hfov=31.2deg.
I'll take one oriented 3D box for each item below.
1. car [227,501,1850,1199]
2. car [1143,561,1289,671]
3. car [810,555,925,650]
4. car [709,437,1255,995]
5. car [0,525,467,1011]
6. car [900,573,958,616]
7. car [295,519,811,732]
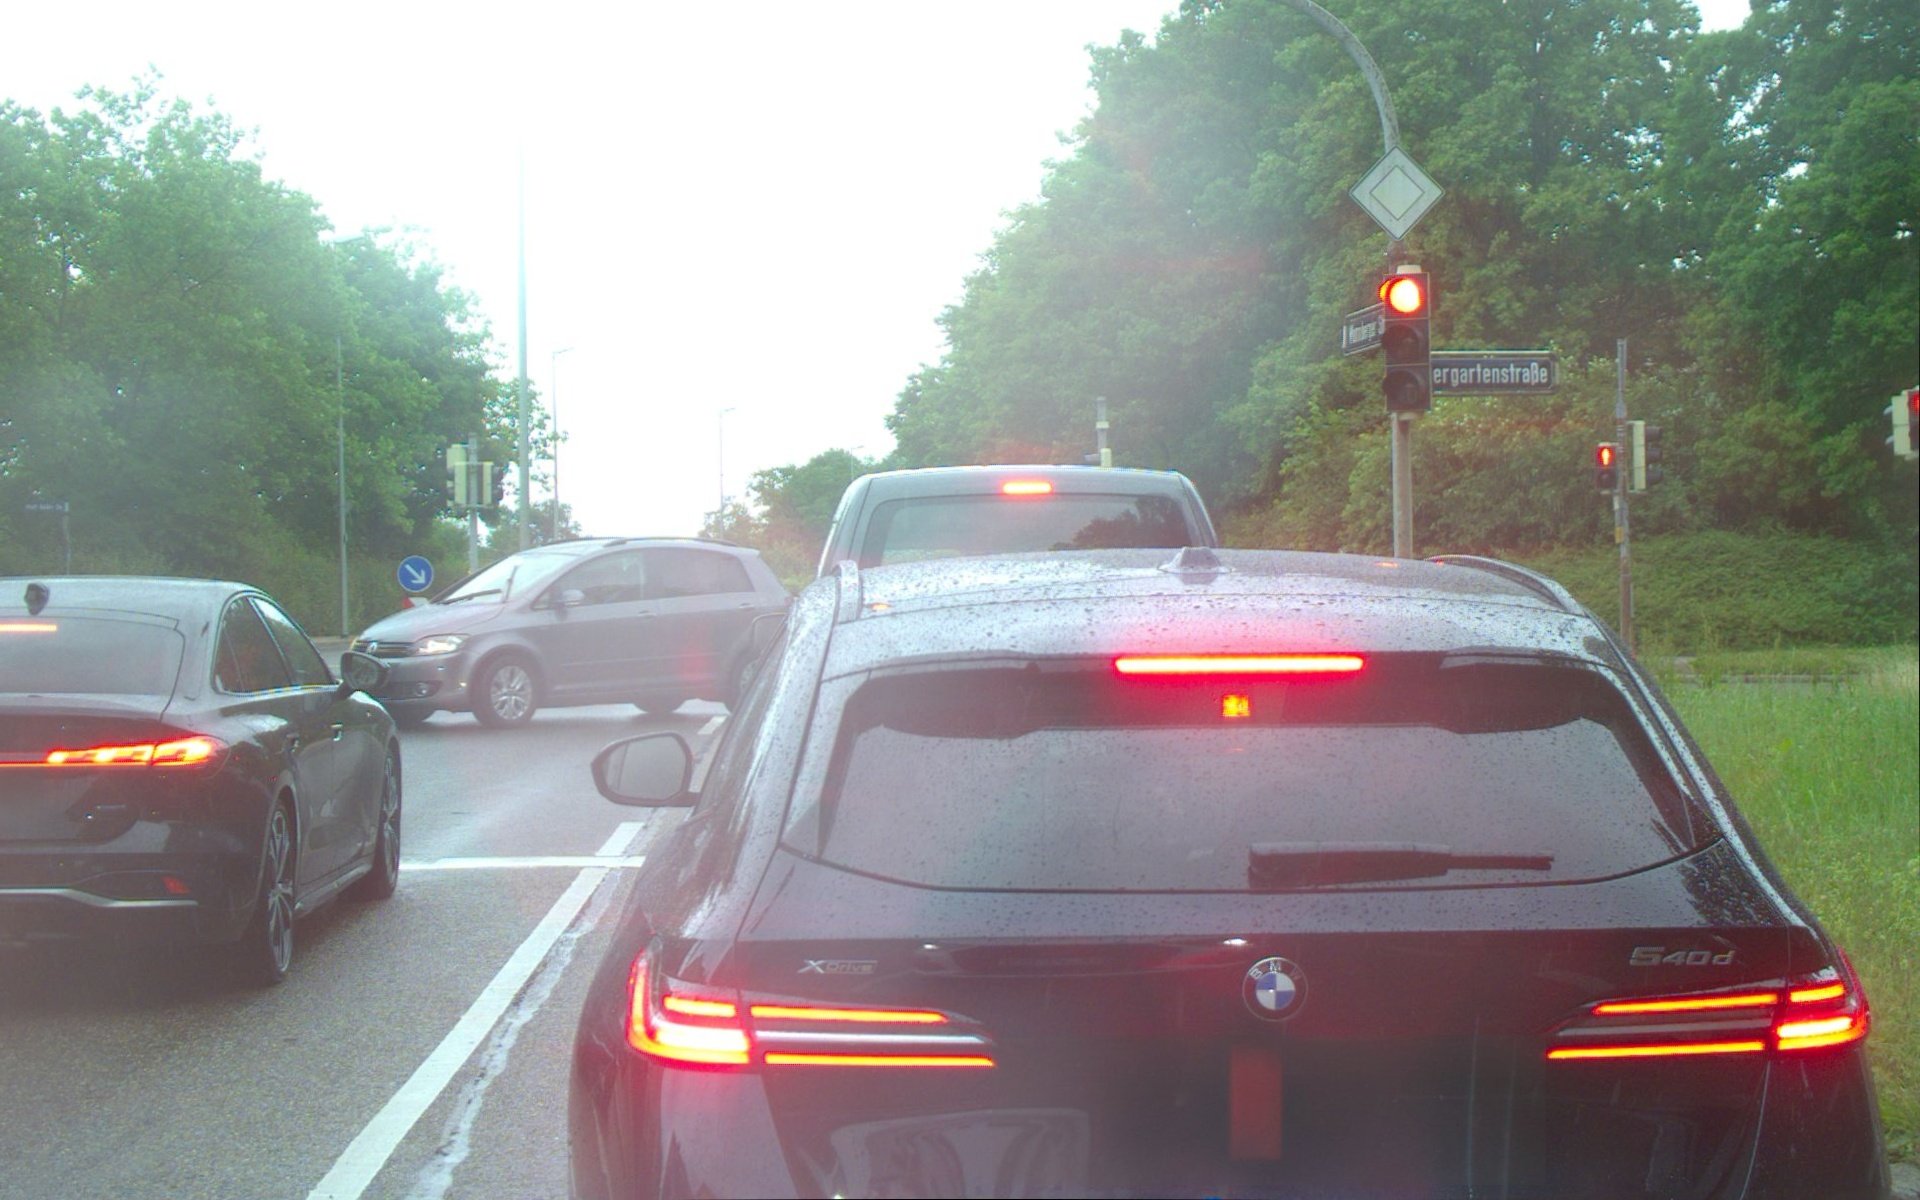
[{"bbox_3d":[0.198,0.668,6.331,1.898,1.546,4.614,0,0,3],"label":"car"},{"bbox_3d":[3.869,0.220,52.529,1.873,1.537,3.952,-2,0,0],"label":"car"},{"bbox_3d":[-1.535,0.029,55.935,1.697,1.422,3.514,-2,0,-3],"label":"car"},{"bbox_3d":[0.071,0.374,13.461,1.818,1.862,3.952,0,0,0],"label":"car"},{"bbox_3d":[-3.228,0.549,13.203,1.993,1.522,4.328,-2,0,0],"label":"car"},{"bbox_3d":[-1.225,-0.225,137.911,1.994,1.618,3.952,-2,0,4],"label":"car"},{"bbox_3d":[-3.457,0.186,29.546,4.020,1.596,1.748,-3,1,-38],"label":"car"}]
